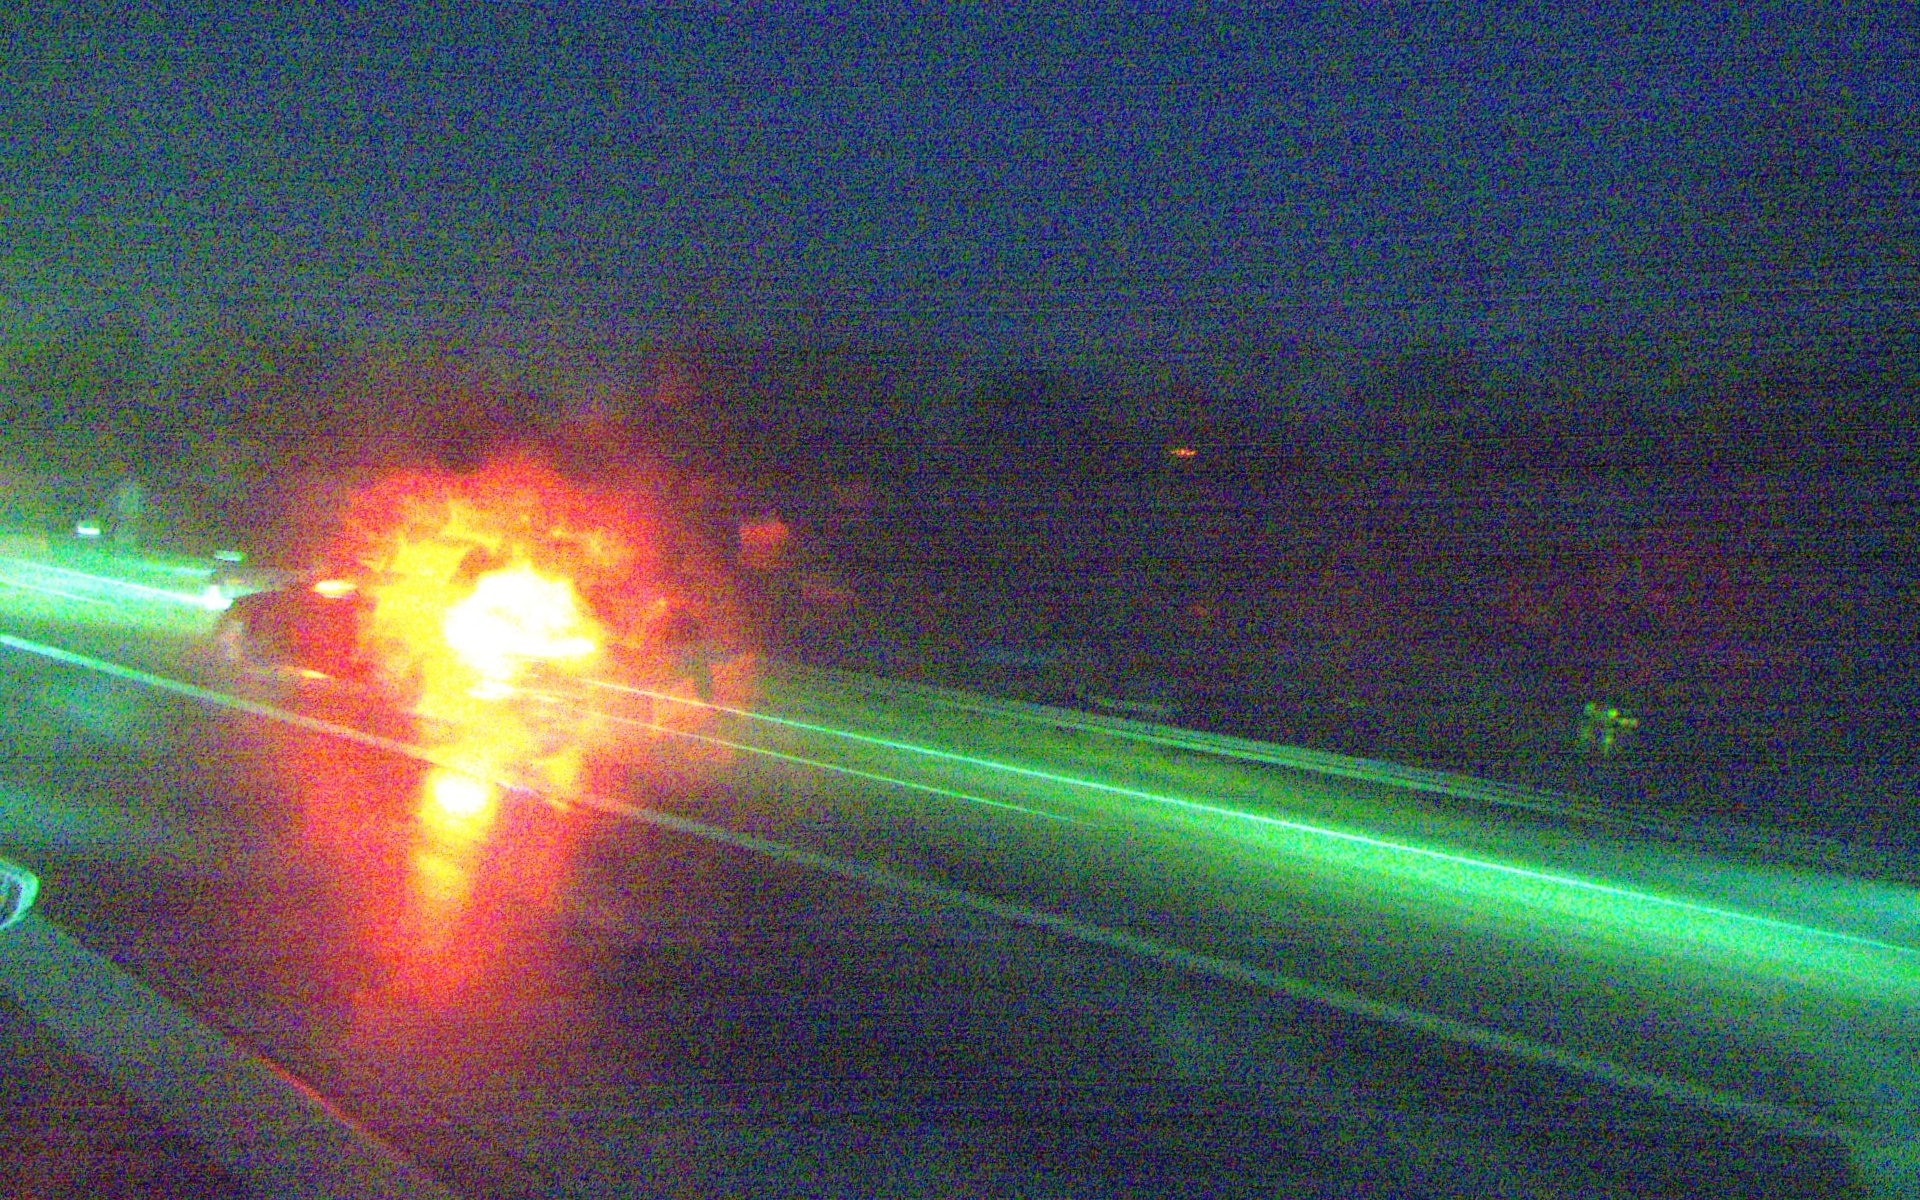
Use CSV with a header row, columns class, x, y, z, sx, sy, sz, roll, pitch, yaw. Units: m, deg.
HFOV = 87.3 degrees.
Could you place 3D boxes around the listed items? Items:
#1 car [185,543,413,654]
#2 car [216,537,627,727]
class,x,y,z,sx,sy,sz,roll,pitch,yaw
car,-12.545,-0.035,19.076,3.972,1.514,1.725,7,-1,26
car,-6.102,0.326,11.328,4.261,1.466,1.998,7,-2,29
